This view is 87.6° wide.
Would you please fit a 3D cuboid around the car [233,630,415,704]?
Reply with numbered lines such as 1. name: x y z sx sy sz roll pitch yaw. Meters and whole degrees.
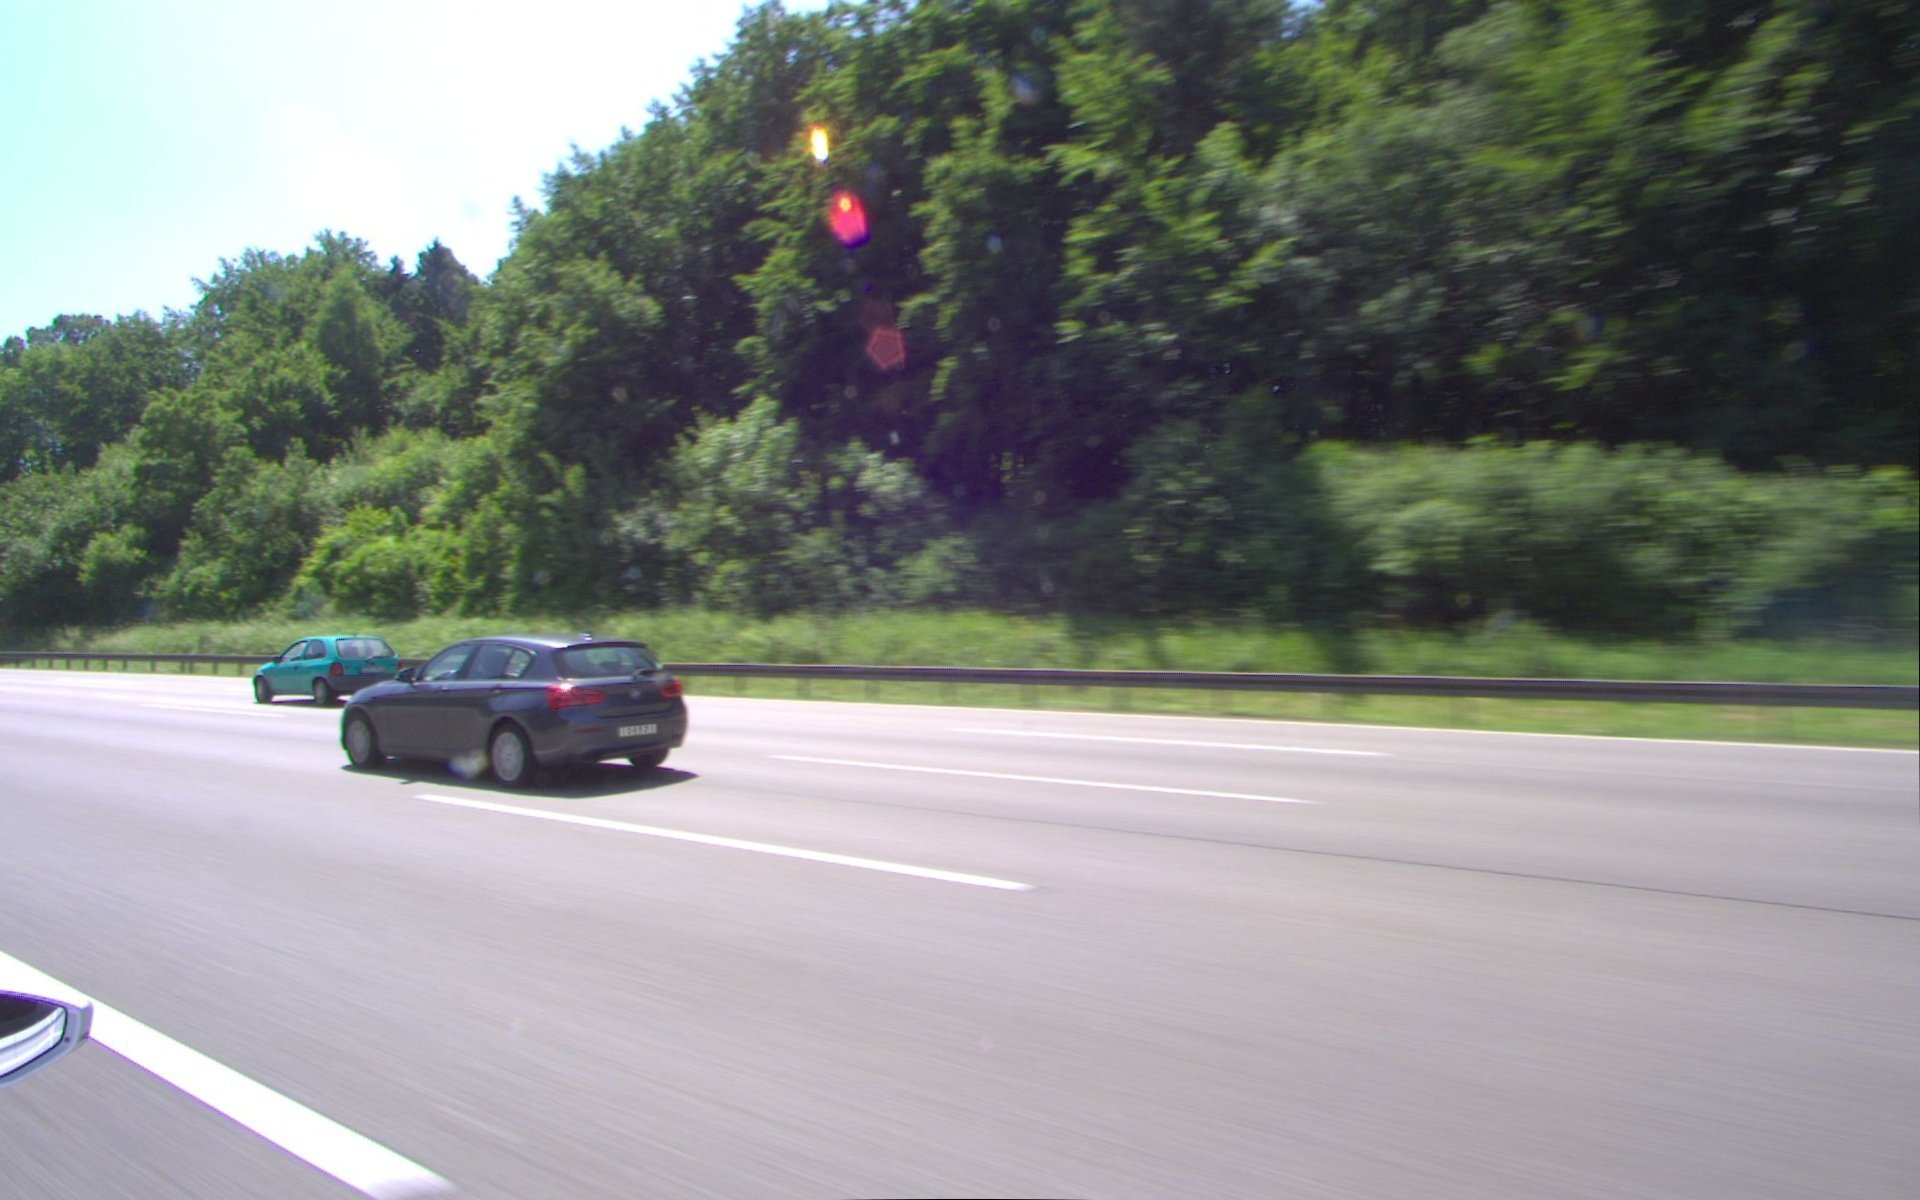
1. car: -13.684 1.380 21.490 4.277 1.462 1.543 -1 -2 31

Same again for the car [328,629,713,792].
1. car: -4.683 1.019 10.520 4.094 1.414 1.699 -1 -2 32
